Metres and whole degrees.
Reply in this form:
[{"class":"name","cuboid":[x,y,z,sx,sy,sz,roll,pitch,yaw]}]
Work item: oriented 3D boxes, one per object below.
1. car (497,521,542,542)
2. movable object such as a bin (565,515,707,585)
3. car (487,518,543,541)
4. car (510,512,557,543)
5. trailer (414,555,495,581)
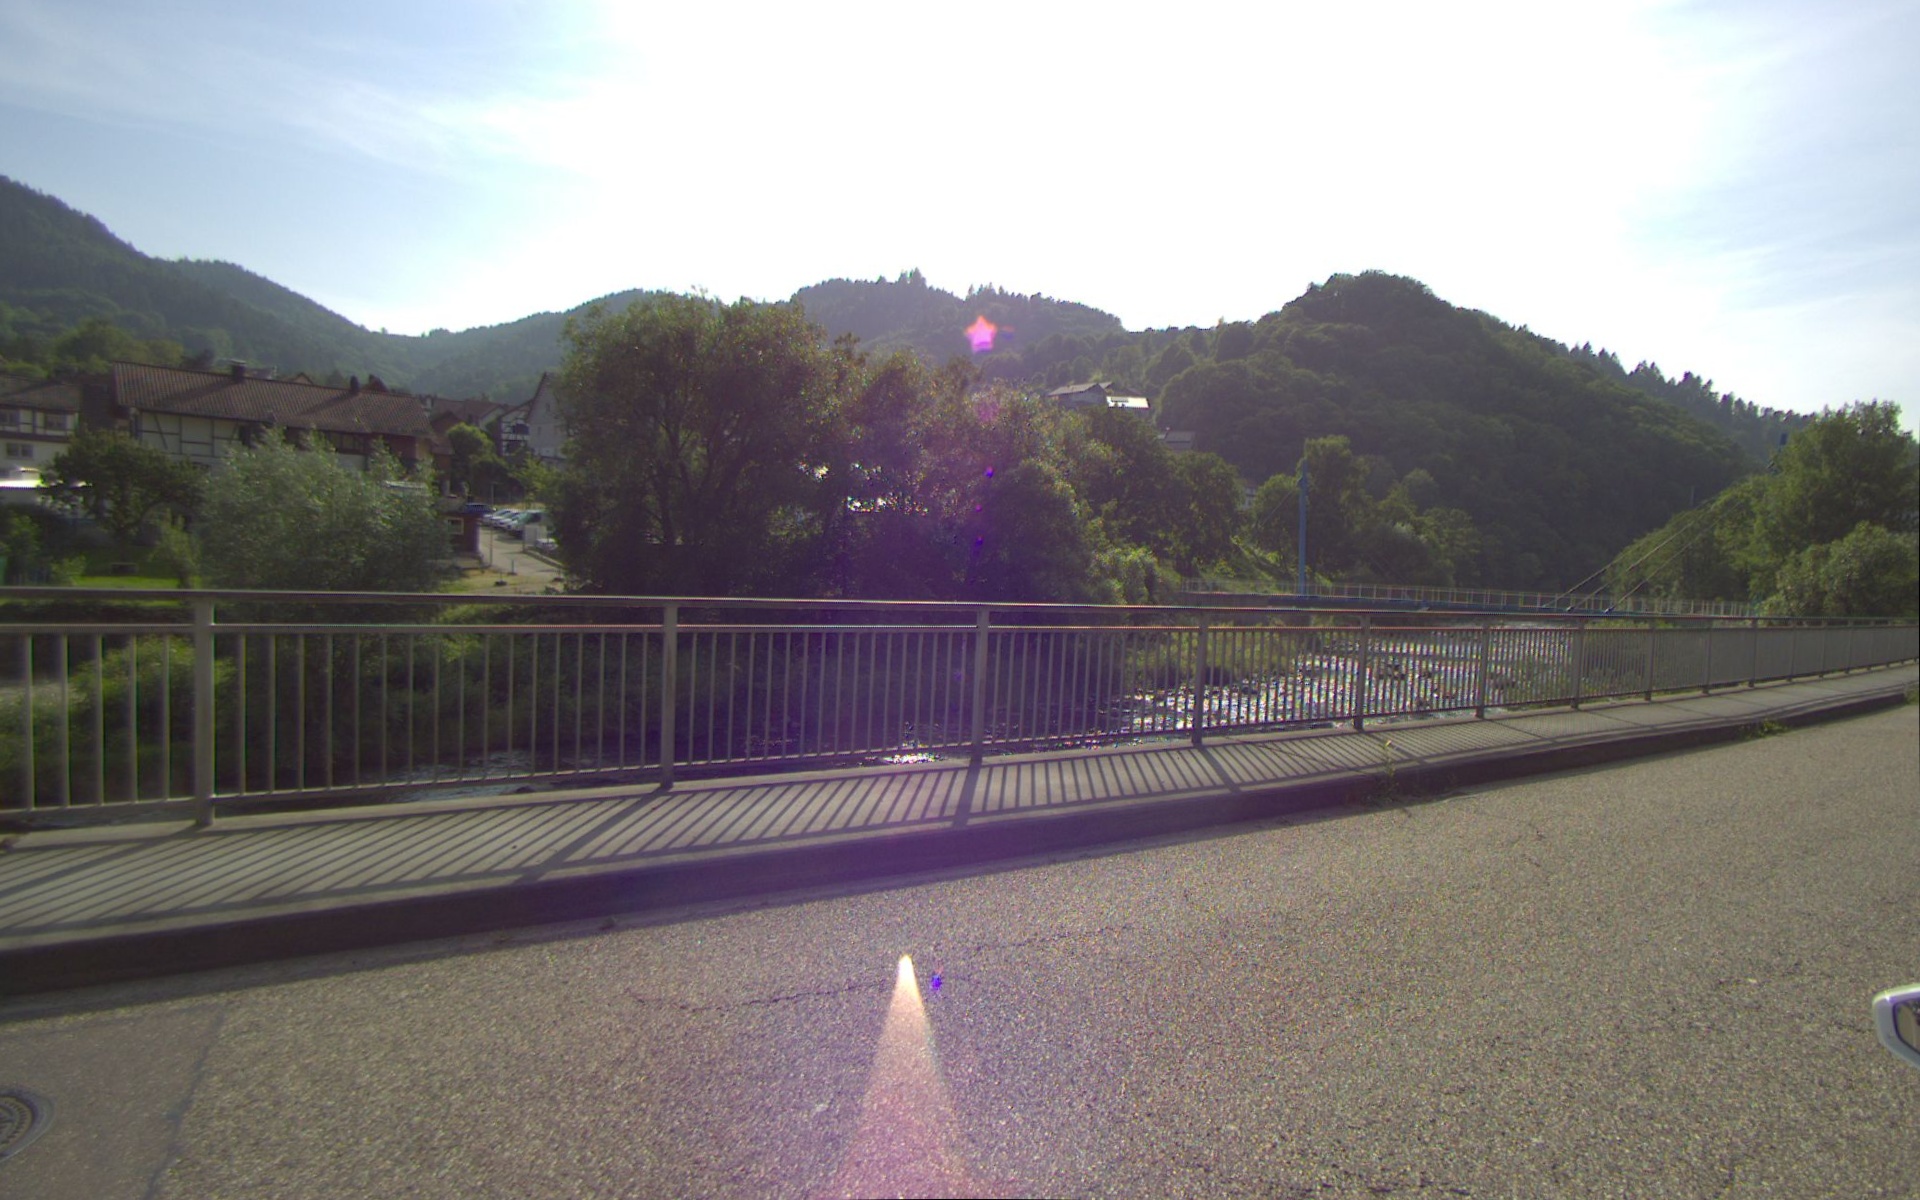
[{"class":"car","cuboid":[-36.207,-5.588,82.499,3.166,1.479,1.239,1,0,-40]},{"class":"movable object such as a bin","cuboid":[-21.689,-3.329,67.499,8.003,3.257,3.553,10,3,8]},{"class":"car","cuboid":[-37.572,-5.950,84.869,3.967,1.658,1.757,1,0,-40]},{"class":"car","cuboid":[-33.200,-5.603,78.249,3.166,2.156,1.239,1,0,-40]},{"class":"trailer","cuboid":[-28.577,-1.769,56.883,1.868,1.327,3.683,1,0,39]}]
